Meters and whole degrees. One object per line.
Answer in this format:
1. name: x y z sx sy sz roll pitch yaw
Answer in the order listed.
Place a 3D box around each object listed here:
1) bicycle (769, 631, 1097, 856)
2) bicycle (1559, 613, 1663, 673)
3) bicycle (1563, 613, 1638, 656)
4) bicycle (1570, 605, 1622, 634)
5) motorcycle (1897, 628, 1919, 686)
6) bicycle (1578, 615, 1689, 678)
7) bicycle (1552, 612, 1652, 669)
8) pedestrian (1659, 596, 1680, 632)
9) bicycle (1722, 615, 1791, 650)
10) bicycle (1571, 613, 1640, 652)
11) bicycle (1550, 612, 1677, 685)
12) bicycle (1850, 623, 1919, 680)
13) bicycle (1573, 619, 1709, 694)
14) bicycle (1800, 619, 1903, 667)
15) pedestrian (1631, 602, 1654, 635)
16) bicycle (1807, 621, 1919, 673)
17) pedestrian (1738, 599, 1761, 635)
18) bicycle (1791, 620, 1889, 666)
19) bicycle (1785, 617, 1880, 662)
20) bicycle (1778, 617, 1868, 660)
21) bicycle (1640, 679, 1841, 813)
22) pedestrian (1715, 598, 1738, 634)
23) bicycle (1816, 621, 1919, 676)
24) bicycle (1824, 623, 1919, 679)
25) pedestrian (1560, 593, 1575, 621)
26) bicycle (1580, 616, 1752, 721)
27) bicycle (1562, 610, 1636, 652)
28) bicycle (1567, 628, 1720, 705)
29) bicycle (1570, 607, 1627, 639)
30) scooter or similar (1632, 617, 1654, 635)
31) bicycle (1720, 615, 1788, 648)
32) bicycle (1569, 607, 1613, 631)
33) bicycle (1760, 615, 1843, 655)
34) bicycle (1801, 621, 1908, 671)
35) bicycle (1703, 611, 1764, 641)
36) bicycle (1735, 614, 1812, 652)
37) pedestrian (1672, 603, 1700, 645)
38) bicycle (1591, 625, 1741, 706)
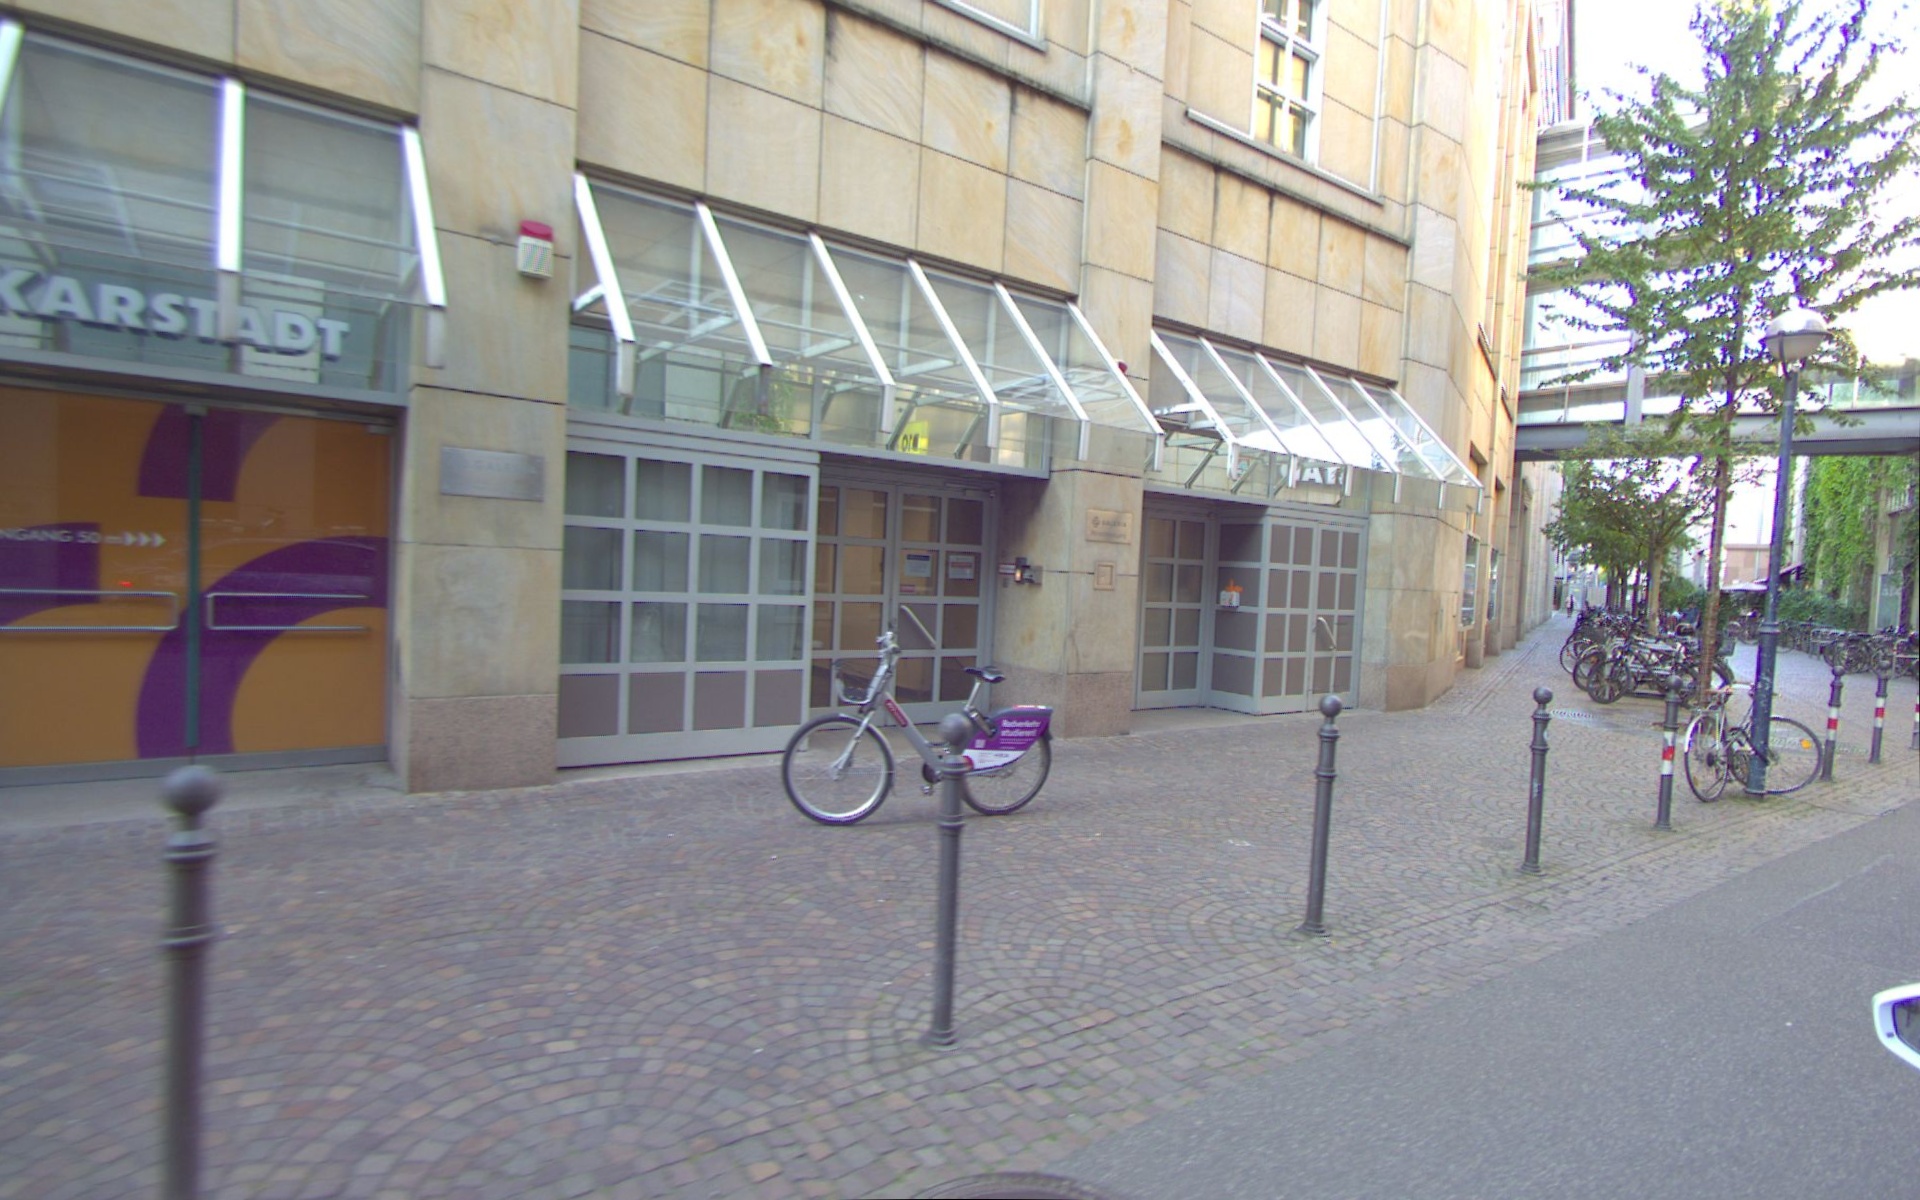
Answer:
1. bicycle: -0.156 0.781 5.848 1.751 1.127 0.692 2 1 -22
2. bicycle: 14.662 0.950 22.650 1.888 1.198 0.693 4 2 37
3. bicycle: 19.951 1.064 31.299 1.888 1.198 0.693 4 2 37
4. bicycle: 28.714 0.874 45.386 1.888 1.198 0.693 4 2 37
5. motorcycle: 20.318 1.189 20.452 1.724 1.171 0.592 2 1 37
6. bicycle: 14.492 0.972 21.633 1.888 1.198 0.693 4 2 37
7. bicycle: 15.156 0.938 23.731 1.888 1.198 0.693 4 2 37
8. pedestrian: 36.563 0.708 51.793 0.754 1.828 0.775 3 2 32
9. bicycle: 29.999 1.212 37.881 1.967 1.198 0.692 1 1 35
10. bicycle: 22.131 1.091 34.451 1.888 1.198 0.693 4 2 37
11. bicycle: 12.119 0.872 18.668 1.888 1.198 0.693 4 2 37
12. bicycle: 21.081 1.151 22.234 1.967 1.198 0.694 1 1 35
13. bicycle: 11.851 0.956 17.512 1.888 1.116 0.693 4 2 37
14. bicycle: 24.042 1.135 27.135 1.967 1.198 0.692 1 1 35
15. pedestrian: 36.300 0.973 53.426 0.879 1.661 0.909 3 2 32
16. bicycle: 22.518 1.152 25.112 1.967 1.198 0.800 1 1 35
17. pedestrian: 41.447 0.896 52.729 0.763 1.828 0.766 3 2 29
18. bicycle: 24.491 1.181 28.008 1.967 1.198 0.692 1 1 35
19. bicycle: 25.224 1.115 29.088 1.967 1.198 0.692 1 1 35
20. bicycle: 25.813 1.138 30.090 1.967 1.198 0.692 1 1 35
21. bicycle: 6.446 1.169 8.285 1.670 0.979 0.504 2 2 -22
22. pedestrian: 40.829 0.847 53.524 0.763 1.828 0.766 3 2 29
23. bicycle: 21.885 1.149 24.068 1.967 1.198 0.800 1 1 35
24. bicycle: 21.386 1.178 23.268 1.967 1.198 0.694 1 1 35
25. pedestrian: 41.118 0.469 68.017 0.763 1.828 0.633 3 2 29
26. bicycle: 9.927 0.919 14.217 1.887 1.278 0.806 3 2 34
27. bicycle: 20.382 0.963 32.071 1.888 1.198 0.693 4 2 37
28. bicycle: 10.610 1.006 15.663 1.887 1.007 0.694 3 2 34
29. bicycle: 26.504 0.941 41.716 1.888 1.198 0.693 4 2 37
30. scooter or similar: 35.796 1.359 52.658 0.879 0.854 0.909 3 2 32
31. bicycle: 30.479 1.200 38.588 1.967 1.198 0.692 1 1 35
32. bicycle: 34.092 1.013 54.292 1.888 1.198 0.693 4 2 37
33. bicycle: 27.064 1.111 32.353 1.967 1.198 0.692 1 1 35
34. bicycle: 23.412 1.183 26.336 1.967 1.198 0.800 1 1 35
35. bicycle: 32.931 1.106 42.795 1.967 1.198 0.692 1 1 35
36. bicycle: 27.815 1.125 34.390 1.967 1.198 0.692 1 1 35
37. pedestrian: 27.384 0.906 37.873 0.737 1.529 0.636 3 2 32
38. bicycle: 11.337 1.019 16.211 1.887 1.116 0.694 3 2 34
